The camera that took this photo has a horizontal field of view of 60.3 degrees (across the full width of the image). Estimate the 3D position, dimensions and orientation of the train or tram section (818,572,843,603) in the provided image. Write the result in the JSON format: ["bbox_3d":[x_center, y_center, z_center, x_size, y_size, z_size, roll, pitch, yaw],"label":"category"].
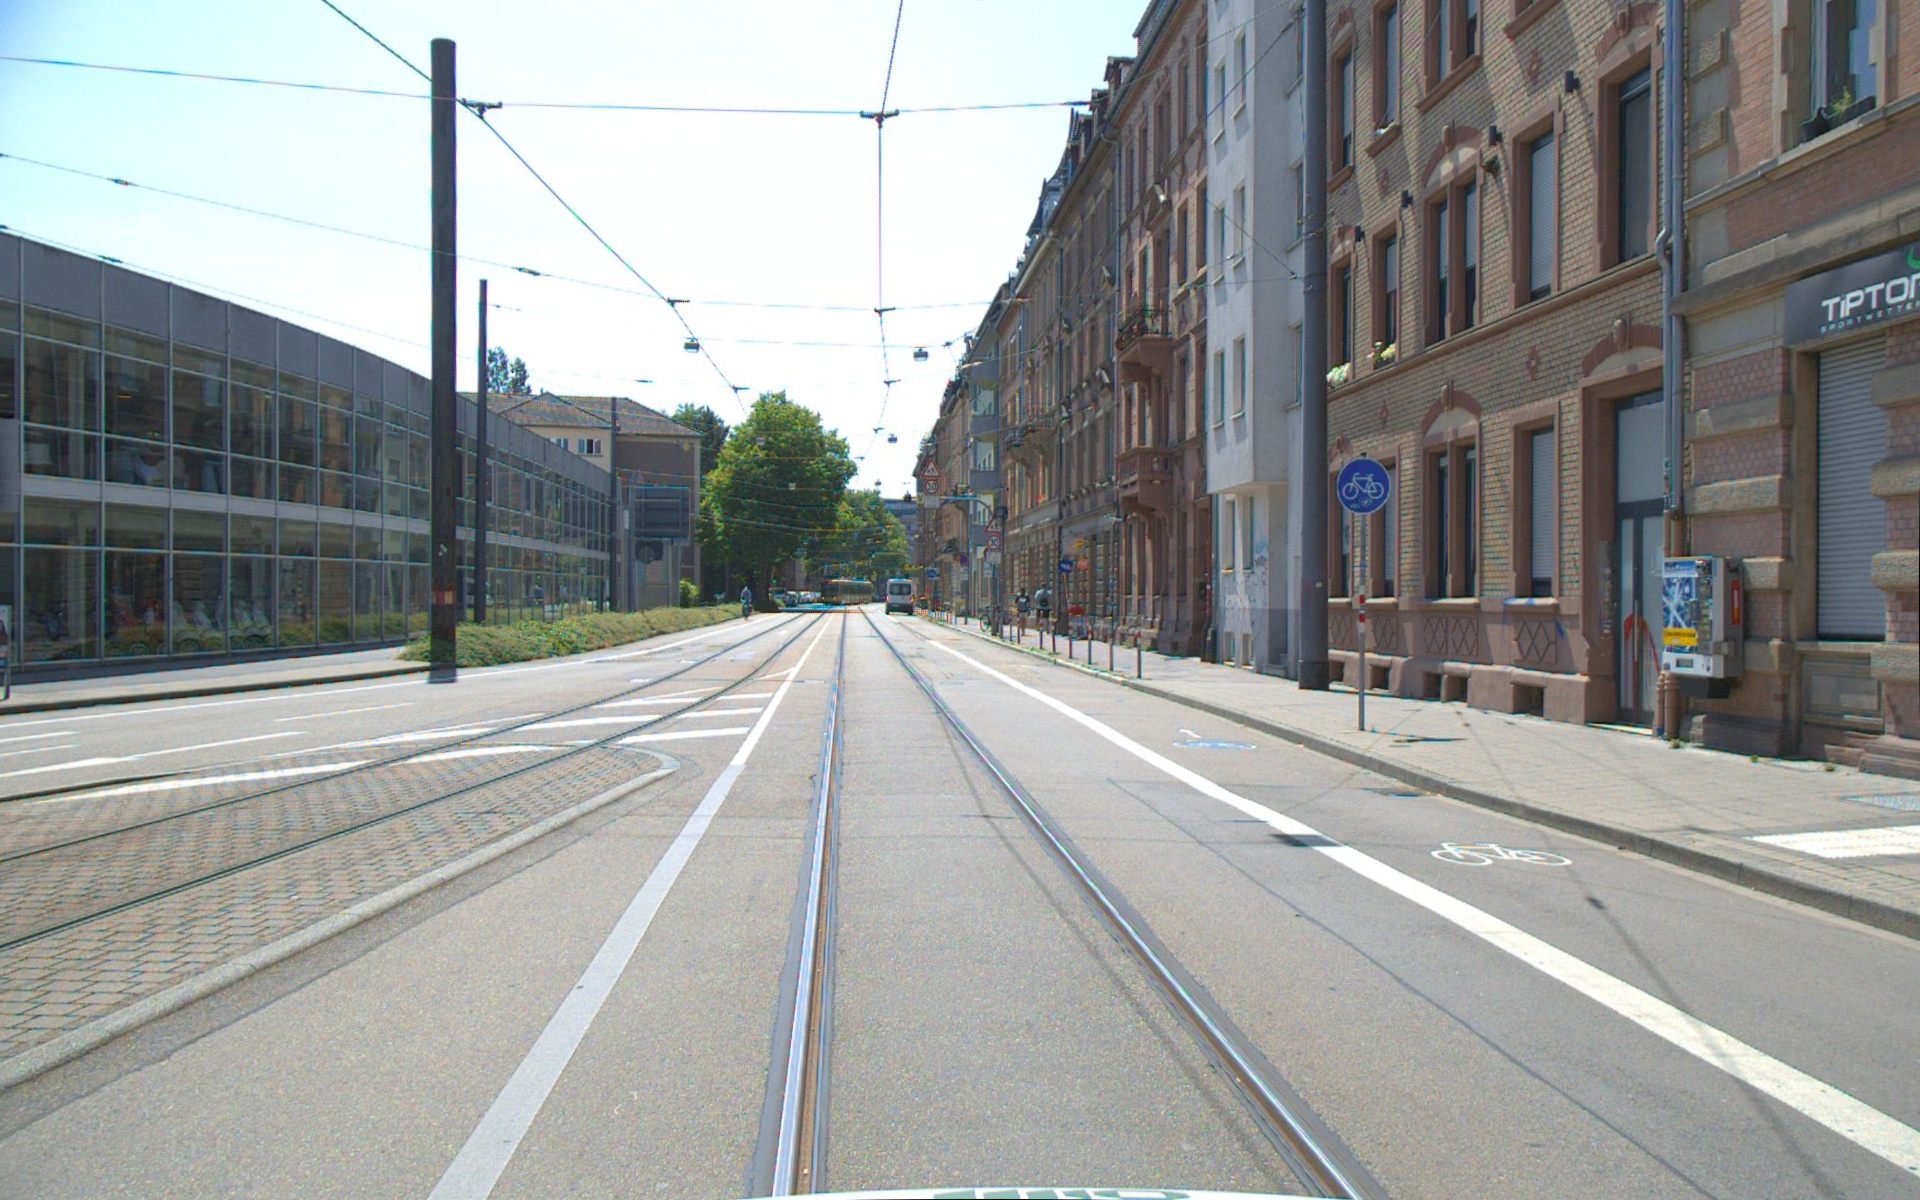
[{"bbox_3d":[-15.822,-1.466,202.249,2.902,3.643,13.411,0,0,-4],"label":"train or tram section"}]

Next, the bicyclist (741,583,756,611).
[{"bbox_3d":[-11.993,-0.171,93.712,0.683,1.575,0.980,0,0,3],"label":"bicyclist"}]

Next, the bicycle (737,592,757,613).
[{"bbox_3d":[-12.080,0.147,93.695,0.683,1.164,2.496,0,0,3],"label":"bicycle"}]

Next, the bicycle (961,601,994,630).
[{"bbox_3d":[0.741,0.616,68.067,0.489,1.150,2.242,0,0,24],"label":"bicycle"}]

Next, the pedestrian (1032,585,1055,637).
[{"bbox_3d":[3.064,0.395,60.987,0.688,1.881,0.643,-3,0,-3],"label":"pedestrian"}]

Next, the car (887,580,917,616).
[{"bbox_3d":[-4.308,-0.154,122.148,2.026,2.544,5.451,1,0,-3],"label":"car"}]

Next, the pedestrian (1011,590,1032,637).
[{"bbox_3d":[2.258,0.494,61.038,0.706,1.750,0.643,0,0,-3],"label":"pedestrian"}]

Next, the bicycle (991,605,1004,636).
[{"bbox_3d":[1.394,0.749,61.043,0.438,1.116,2.423,0,0,2],"label":"bicycle"}]
